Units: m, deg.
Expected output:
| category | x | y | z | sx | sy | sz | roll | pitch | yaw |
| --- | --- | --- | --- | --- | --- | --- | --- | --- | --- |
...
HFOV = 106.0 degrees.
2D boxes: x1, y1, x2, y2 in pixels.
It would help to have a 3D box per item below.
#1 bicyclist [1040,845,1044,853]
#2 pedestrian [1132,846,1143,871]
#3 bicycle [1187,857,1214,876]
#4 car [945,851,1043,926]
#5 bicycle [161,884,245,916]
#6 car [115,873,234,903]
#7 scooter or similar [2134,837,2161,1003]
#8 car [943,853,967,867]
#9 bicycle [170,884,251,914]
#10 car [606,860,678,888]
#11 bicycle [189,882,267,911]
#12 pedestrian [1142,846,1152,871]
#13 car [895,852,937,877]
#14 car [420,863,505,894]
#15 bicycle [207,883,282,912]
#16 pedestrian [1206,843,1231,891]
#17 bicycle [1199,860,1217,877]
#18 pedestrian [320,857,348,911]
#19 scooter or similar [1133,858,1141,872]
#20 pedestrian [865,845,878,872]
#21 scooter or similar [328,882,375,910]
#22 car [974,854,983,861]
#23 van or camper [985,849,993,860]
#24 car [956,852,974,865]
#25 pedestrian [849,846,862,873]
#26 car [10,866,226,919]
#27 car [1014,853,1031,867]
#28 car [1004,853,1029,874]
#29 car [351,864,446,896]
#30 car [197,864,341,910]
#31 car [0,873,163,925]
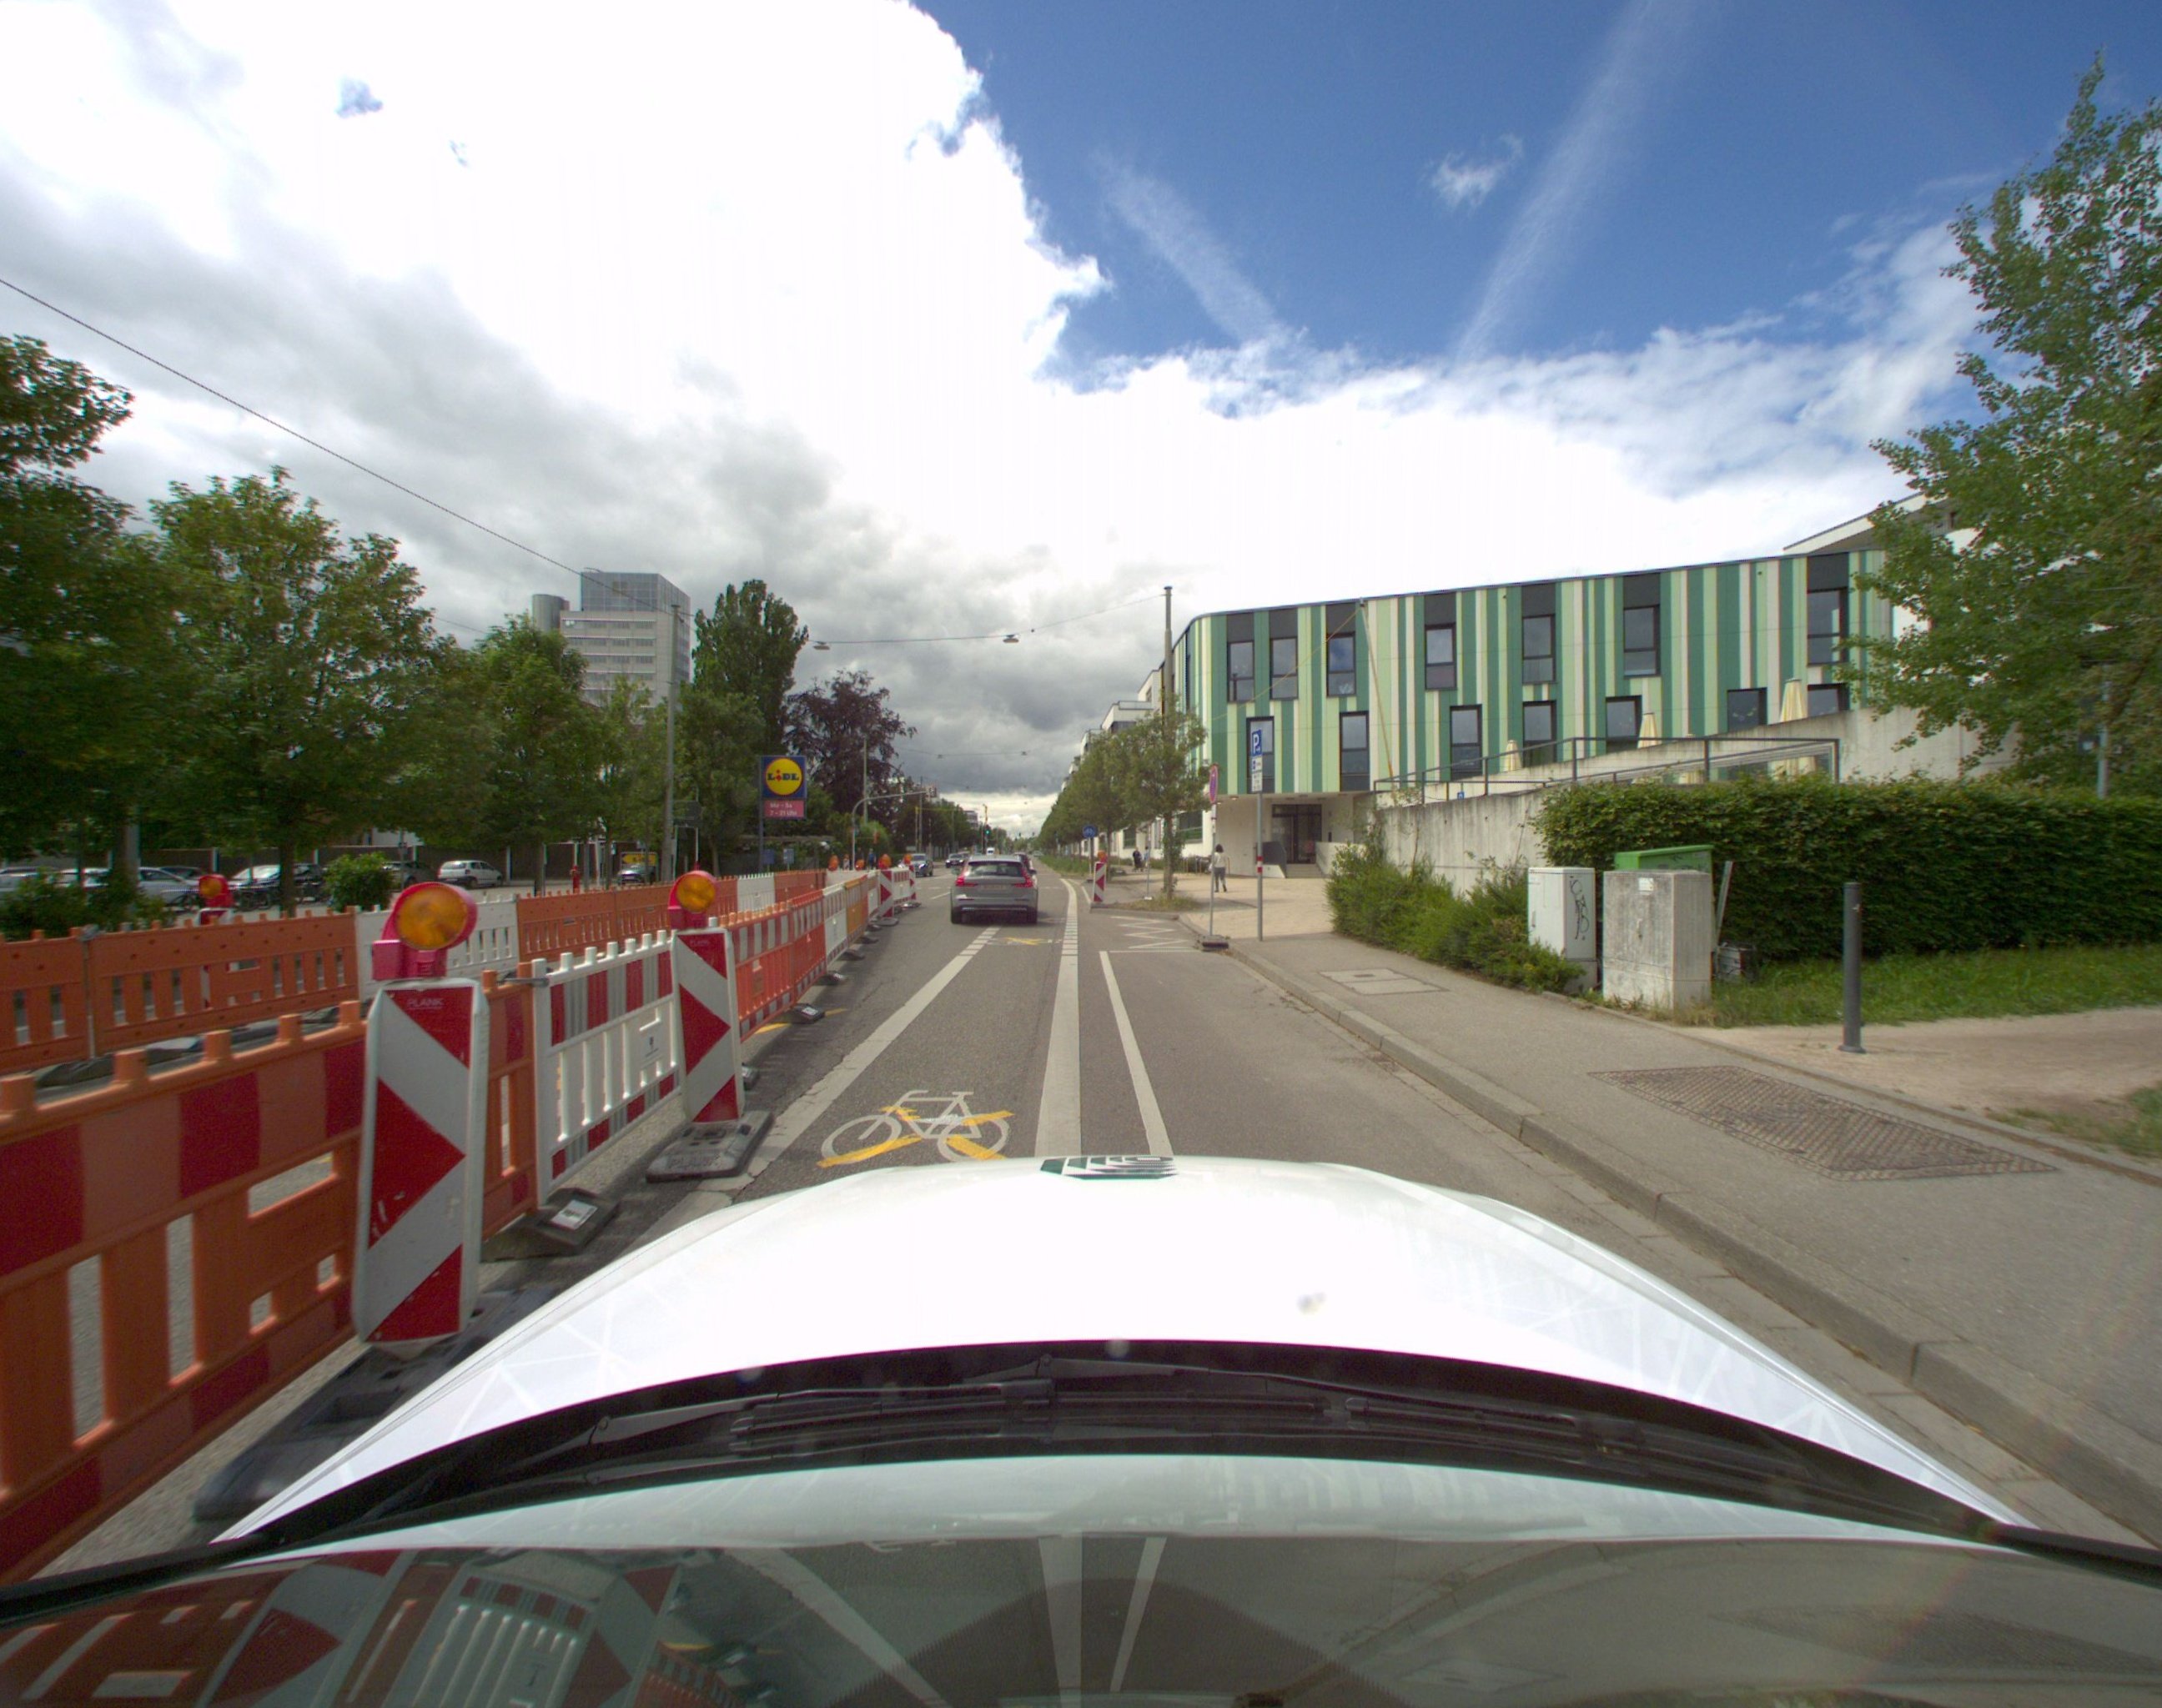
| category | x | y | z | sx | sy | sz | roll | pitch | yaw |
| --- | --- | --- | --- | --- | --- | --- | --- | --- | --- |
| bicyclist | -10.282 | -1.241 | 213.070 | 1.012 | 2.013 | 1.129 | -1 | 0 | -5 |
| pedestrian | 3.787 | 0.330 | 54.713 | 0.604 | 1.655 | 0.551 | -1 | 0 | -5 |
| bicycle | 6.569 | 0.681 | 44.890 | 1.468 | 1.045 | 0.305 | -1 | 0 | -17 |
| car | -1.868 | 0.705 | 18.581 | 1.849 | 1.513 | 3.998 | 0 | 0 | -1 |
| bicycle | -29.348 | 1.516 | 27.249 | 0.344 | 0.957 | 1.896 | -1 | 0 | 42 |
| car | -46.618 | 1.718 | 42.025 | 1.992 | 1.398 | 3.989 | -1 | 0 | -8 |
| scooter or similar | 9.262 | 0.521 | 6.202 | 1.387 | 1.325 | 0.825 | 0 | 0 | 3 |
| car | -12.978 | 0.620 | 84.120 | 1.990 | 1.400 | 4.804 | -2 | 0 | -4 |
| bicycle | -29.928 | 1.544 | 28.024 | 1.889 | 0.957 | 0.346 | -1 | 0 | -27 |
| car | -24.348 | 1.091 | 45.341 | 1.990 | 1.453 | 3.994 | -1 | 0 | -4 |
| bicycle | -30.138 | 1.491 | 28.799 | 1.889 | 0.957 | 0.346 | -1 | 0 | -27 |
| pedestrian | 4.355 | 0.320 | 54.143 | 0.549 | 1.655 | 0.606 | -1 | 0 | -5 |
| car | -10.483 | 0.649 | 52.111 | 1.848 | 1.513 | 3.999 | -1 | 0 | 0 |
| car | -33.788 | 1.279 | 44.622 | 1.992 | 1.552 | 3.989 | -1 | 0 | -8 |
| bicycle | -30.351 | 1.568 | 29.567 | 1.889 | 0.957 | 0.346 | -1 | 0 | -27 |
| pedestrian | 4.485 | 0.425 | 26.604 | 0.580 | 1.551 | 0.867 | -1 | 0 | -4 |
| bicycle | 6.834 | 0.778 | 43.830 | 1.030 | 0.842 | 0.304 | -1 | 0 | -37 |
| pedestrian | -26.145 | 1.034 | 28.507 | 0.420 | 1.859 | 0.610 | -1 | 0 | -7 |
| scooter or similar | 3.746 | 0.714 | 54.200 | 0.421 | 0.905 | 0.681 | -1 | 0 | -4 |
| pedestrian | -14.563 | 0.294 | 56.562 | 0.680 | 1.854 | 0.891 | -1 | -1 | -4 |
| scooter or similar | -26.320 | 1.515 | 29.411 | 0.653 | 0.943 | 1.226 | -1 | 0 | -7 |
| car | -21.766 | 0.751 | 173.319 | 1.658 | 1.515 | 3.994 | 0 | 0 | -4 |
| van or camper | -24.337 | 0.158 | 214.905 | 1.993 | 2.734 | 6.035 | -1 | 0 | -8 |
| car | -13.927 | 0.544 | 98.082 | 1.746 | 1.555 | 4.396 | -1 | 0 | -4 |
| pedestrian | -15.601 | 0.353 | 56.333 | 0.680 | 1.854 | 0.705 | -1 | -1 | -4 |
| car | -32.280 | 1.219 | 27.579 | 1.990 | 1.572 | 4.665 | -1 | 0 | -5 |
| car | -6.480 | 0.603 | 89.564 | 1.842 | 1.513 | 3.993 | 1 | 0 | -5 |
| car | -4.966 | 0.688 | 62.588 | 1.851 | 1.513 | 3.993 | 1 | 0 | -5 |
| car | -36.252 | 1.339 | 43.404 | 1.992 | 1.552 | 3.989 | -1 | 0 | -8 |
| car | -33.120 | 1.287 | 33.399 | 1.990 | 1.695 | 3.994 | -1 | 0 | -4 |
| car | -34.743 | 1.468 | 27.704 | 1.990 | 1.572 | 4.665 | -1 | 0 | -5 |
